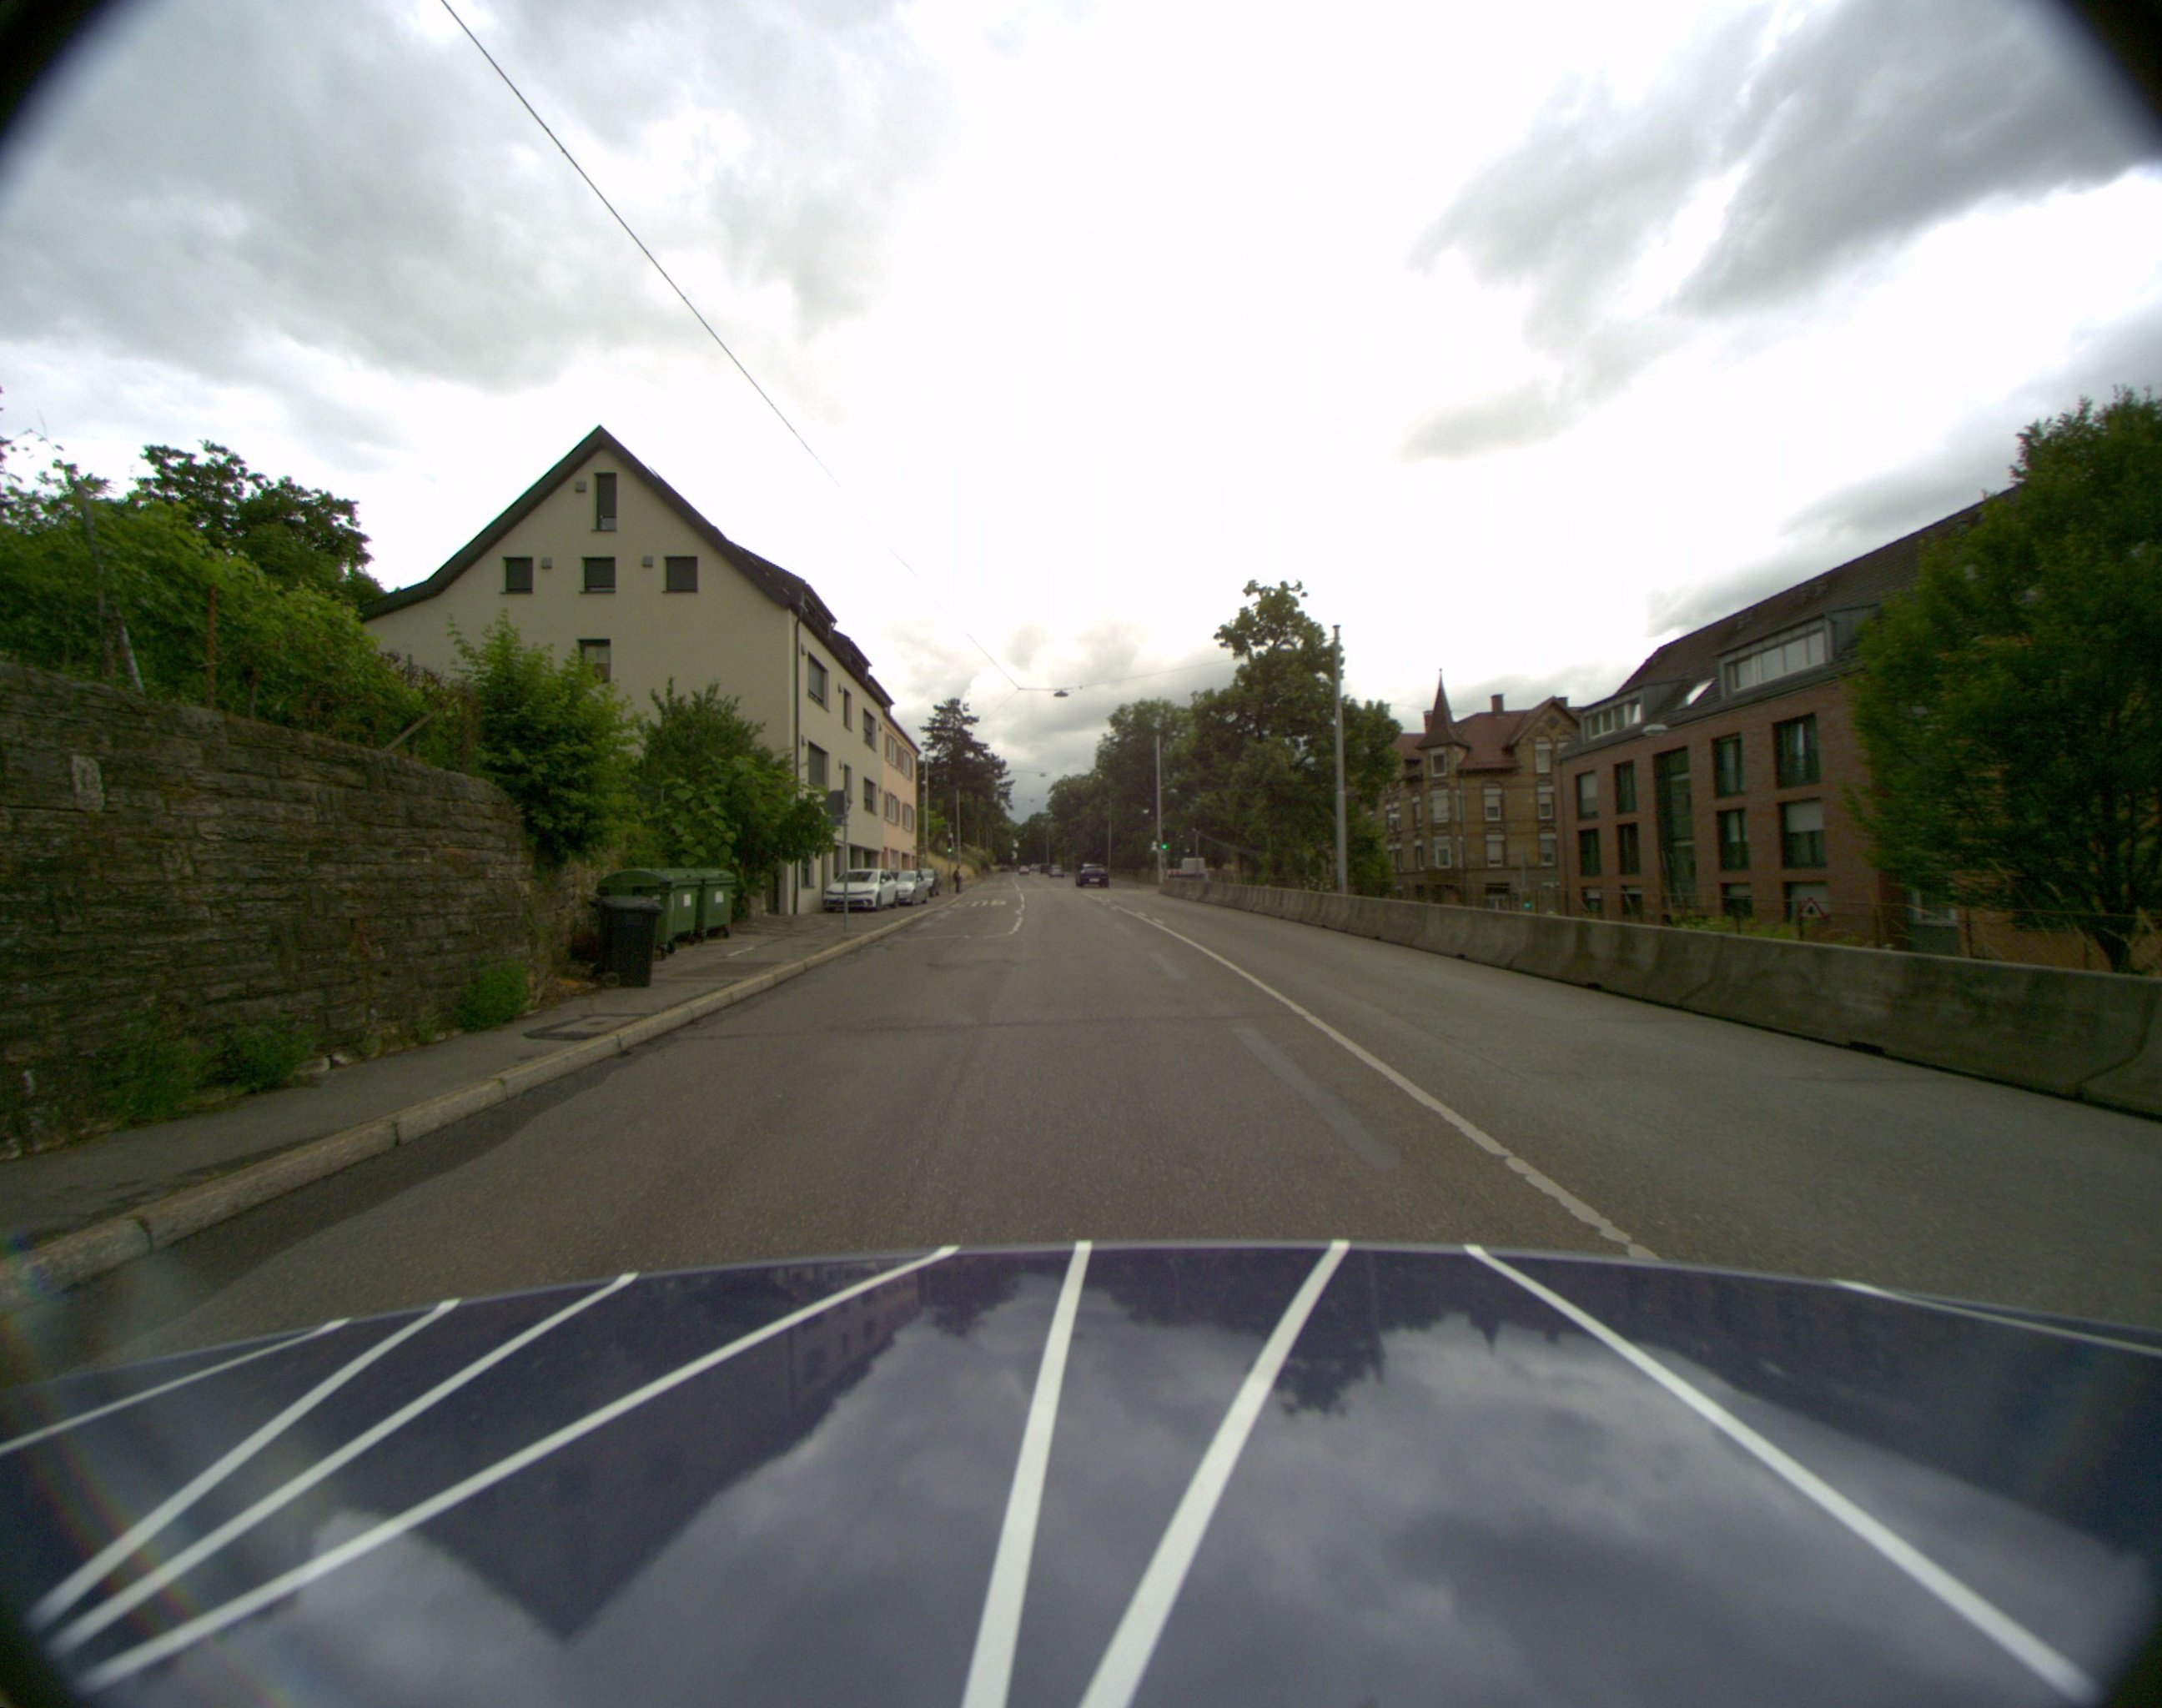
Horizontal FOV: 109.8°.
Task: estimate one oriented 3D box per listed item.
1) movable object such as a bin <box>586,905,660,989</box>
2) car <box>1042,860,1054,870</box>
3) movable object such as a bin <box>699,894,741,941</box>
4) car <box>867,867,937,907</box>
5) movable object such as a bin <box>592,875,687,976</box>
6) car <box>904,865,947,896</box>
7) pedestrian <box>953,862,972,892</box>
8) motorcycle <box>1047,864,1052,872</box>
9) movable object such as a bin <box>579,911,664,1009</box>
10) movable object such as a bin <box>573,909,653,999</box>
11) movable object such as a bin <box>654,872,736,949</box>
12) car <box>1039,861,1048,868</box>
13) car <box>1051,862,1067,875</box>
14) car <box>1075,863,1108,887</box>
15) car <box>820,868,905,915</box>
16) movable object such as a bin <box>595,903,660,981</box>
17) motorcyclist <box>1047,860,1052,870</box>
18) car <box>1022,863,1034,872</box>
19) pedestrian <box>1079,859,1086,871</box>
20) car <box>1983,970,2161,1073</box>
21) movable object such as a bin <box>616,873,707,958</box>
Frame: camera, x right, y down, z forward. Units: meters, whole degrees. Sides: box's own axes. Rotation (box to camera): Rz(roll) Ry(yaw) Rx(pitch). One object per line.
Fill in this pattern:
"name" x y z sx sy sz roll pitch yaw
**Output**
"movable object such as a bin" -6.326 1.263 10.537 0.745 1.052 0.678 -1 1 -20
"car" -5.801 1.856 132.603 1.789 1.735 4.426 0 0 -6
"movable object such as a bin" -7.689 1.344 16.197 0.596 0.936 0.640 -1 0 -4
"car" -7.242 1.290 31.214 1.799 1.442 4.718 3 -1 -1
"movable object such as a bin" -7.003 1.088 12.138 1.052 1.436 1.416 -1 0 -19
"car" -8.202 1.347 40.252 1.686 1.442 3.998 3 -1 -5
"pedestrian" -7.016 1.350 44.920 0.871 1.686 0.890 0 2 10
"motorcycle" -5.020 2.216 121.194 0.787 1.138 2.056 0 0 -5
"movable object such as a bin" -5.549 1.258 9.217 0.745 1.052 0.678 -1 1 -20
"movable object such as a bin" -6.068 1.276 9.883 0.745 1.052 0.678 -1 1 -20
"movable object such as a bin" -7.687 1.093 15.208 1.050 1.436 1.204 -1 0 -4
"car" -8.560 2.371 172.942 1.789 1.565 4.279 0 0 -5
"car" -2.748 1.765 93.715 1.725 1.436 4.157 0 0 -5
"car" 0.713 1.464 53.613 1.988 1.565 4.374 1 -1 -4
"car" -7.392 1.219 26.062 1.799 1.415 4.004 1 0 -1
"movable object such as a bin" -6.636 1.268 11.147 0.712 1.052 0.546 -1 1 -20
"motorcyclist" -5.024 1.784 121.254 0.787 1.507 0.668 0 0 -5
"car" -8.718 2.209 124.891 1.789 1.565 4.279 0 0 -5
"pedestrian" 0.192 1.569 107.622 0.791 1.763 1.208 -4 0 -7
"car" 21.009 3.346 14.969 1.798 1.501 4.001 1 -1 3
"movable object such as a bin" -7.649 1.090 13.927 1.051 1.436 1.204 -1 0 -7
